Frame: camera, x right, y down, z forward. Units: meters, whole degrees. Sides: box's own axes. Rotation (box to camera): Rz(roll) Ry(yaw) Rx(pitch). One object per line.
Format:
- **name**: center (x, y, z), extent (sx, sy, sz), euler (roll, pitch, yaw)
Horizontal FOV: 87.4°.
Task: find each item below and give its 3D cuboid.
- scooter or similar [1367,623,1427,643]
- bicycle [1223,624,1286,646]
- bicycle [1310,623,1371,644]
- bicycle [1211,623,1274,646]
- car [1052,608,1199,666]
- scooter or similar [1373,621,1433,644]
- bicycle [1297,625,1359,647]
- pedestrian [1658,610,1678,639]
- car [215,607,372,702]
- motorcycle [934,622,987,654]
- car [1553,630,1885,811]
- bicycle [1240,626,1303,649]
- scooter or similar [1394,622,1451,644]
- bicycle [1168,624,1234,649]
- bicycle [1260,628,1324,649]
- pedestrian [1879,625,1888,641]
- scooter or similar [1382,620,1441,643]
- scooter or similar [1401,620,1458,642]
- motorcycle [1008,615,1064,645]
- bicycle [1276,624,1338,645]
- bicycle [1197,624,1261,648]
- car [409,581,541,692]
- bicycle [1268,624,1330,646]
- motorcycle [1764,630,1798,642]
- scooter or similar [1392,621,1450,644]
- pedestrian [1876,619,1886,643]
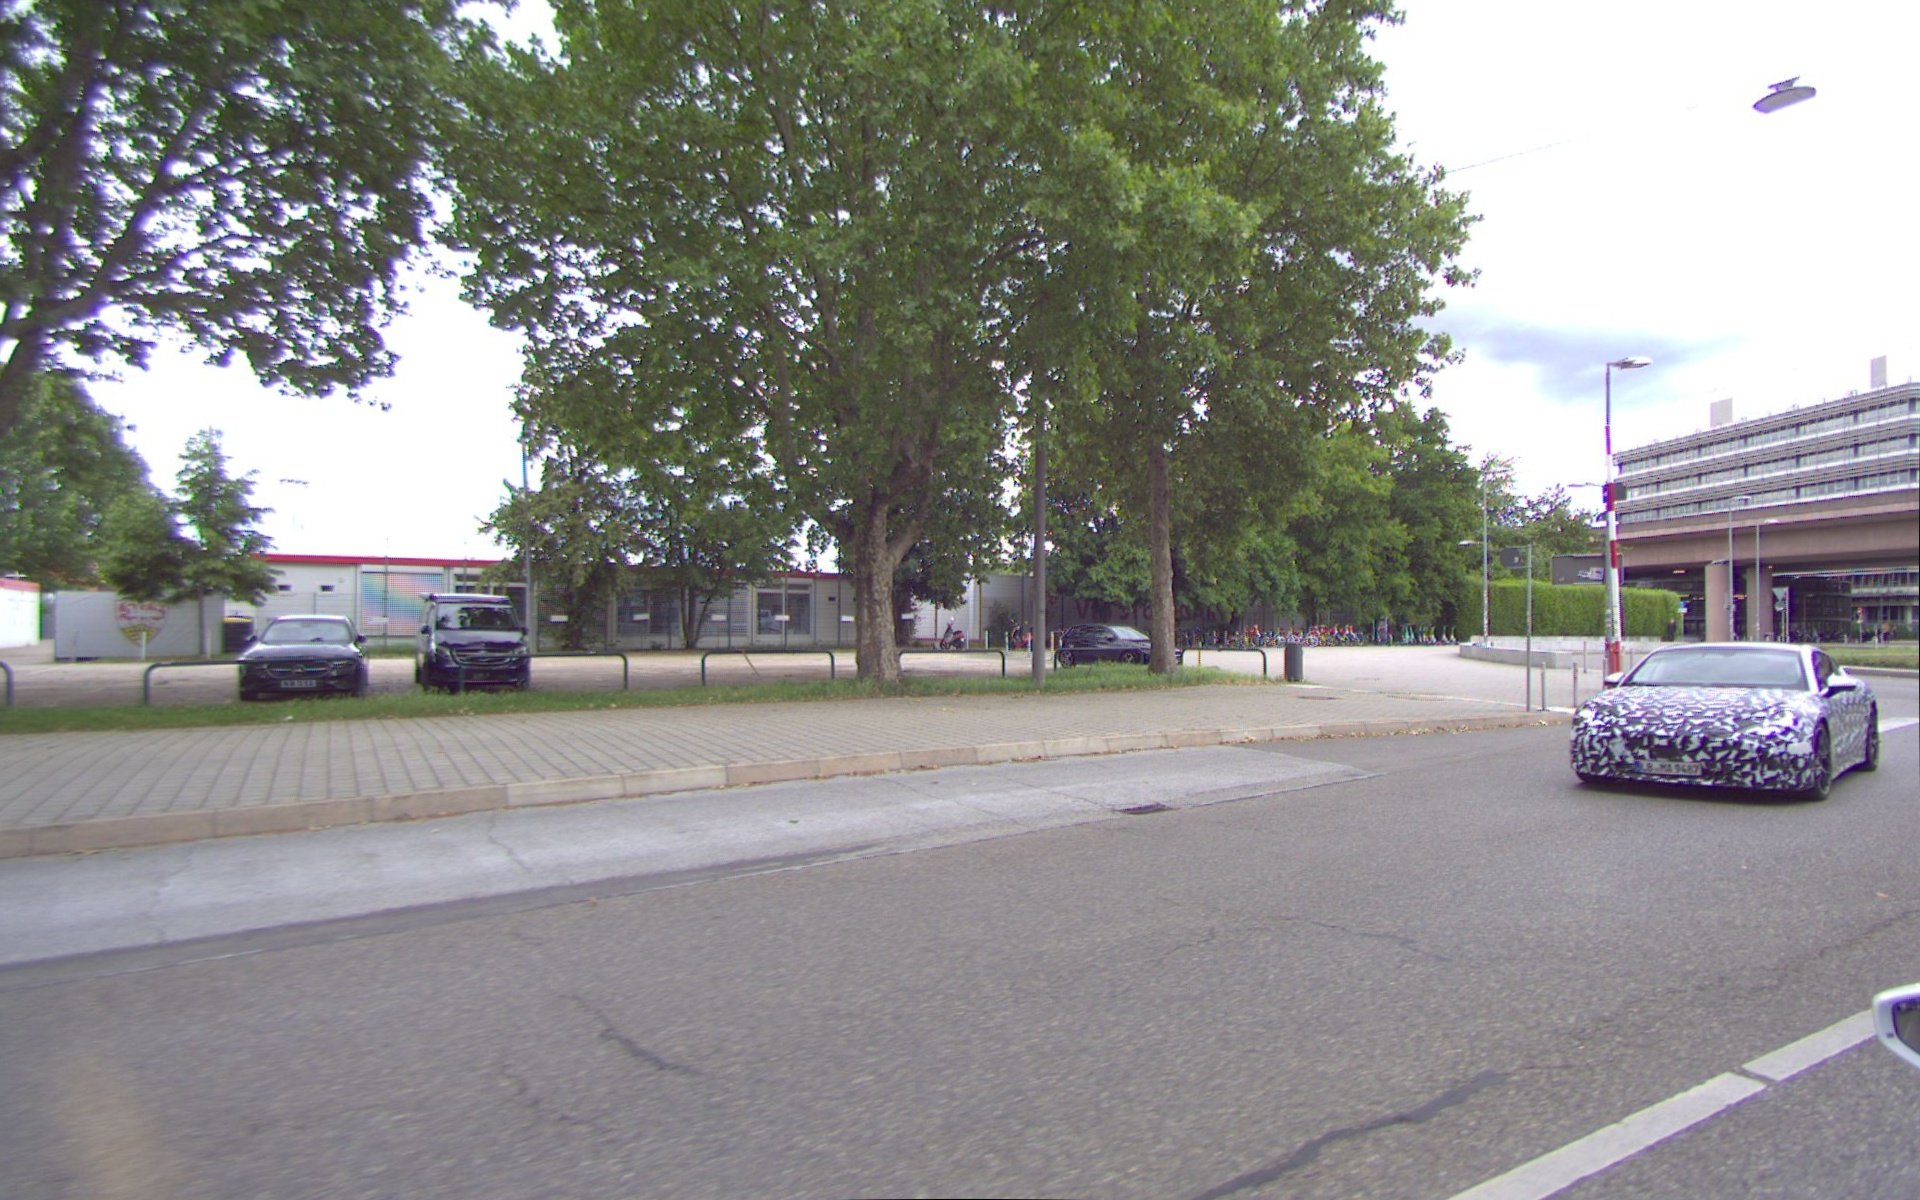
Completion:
- **scooter or similar**: center (25.348, 1.908, 58.290), extent (3.147, 1.112, 0.769), euler (0, -1, 43)
- **bicycle**: center (15.388, 1.818, 52.583), extent (3.147, 1.112, 0.769), euler (0, -1, 43)
- **bicycle**: center (21.333, 1.868, 56.354), extent (3.147, 1.112, 0.769), euler (0, -1, 43)
- **bicycle**: center (14.616, 1.769, 51.994), extent (3.148, 1.112, 0.768), euler (1, -1, 44)
- **car**: center (4.985, 1.113, 30.567), extent (2.214, 1.626, 3.954), euler (2, -2, -40)
- **scooter or similar**: center (25.972, 1.878, 58.996), extent (3.147, 1.266, 0.769), euler (0, -1, 43)
- **bicycle**: center (20.356, 1.970, 55.650), extent (3.147, 1.112, 0.769), euler (0, -1, 43)
- **pedestrian**: center (49.059, 1.695, 69.636), extent (0.595, 2.040, 1.033), euler (1, -1, -43)
- **car**: center (-12.666, 0.971, 19.383), extent (2.083, 1.588, 4.606), euler (2, -1, -29)
- **motorcycle**: center (-0.016, 1.559, 42.063), extent (0.763, 1.238, 3.650), euler (1, -1, -25)
- **car**: center (8.184, 1.086, 10.643), extent (4.778, 1.472, 1.884), euler (1, -3, -42)
- **bicycle**: center (16.423, 1.966, 53.068), extent (3.147, 1.112, 0.769), euler (-1, -2, 43)
- **scooter or similar**: center (28.417, 2.032, 61.753), extent (3.147, 1.266, 0.769), euler (0, -1, 43)
- **bicycle**: center (11.725, 1.752, 48.992), extent (3.148, 1.112, 0.768), euler (1, -1, 44)
- **bicycle**: center (17.583, 2.033, 53.268), extent (3.147, 1.111, 0.769), euler (-2, -3, 43)
- **pedestrian**: center (115.378, 4.141, 125.467), extent (0.766, 2.040, 0.668), euler (0, -1, 35)
- **scooter or similar**: center (26.829, 1.873, 59.724), extent (3.147, 1.266, 0.769), euler (0, -1, 43)
- **scooter or similar**: center (29.124, 1.918, 62.374), extent (3.147, 1.266, 0.769), euler (0, -1, 43)
- **motorcycle**: center (3.309, 1.306, 44.049), extent (0.763, 1.238, 3.650), euler (1, -1, -25)
- **bicycle**: center (18.987, 1.880, 55.037), extent (3.147, 1.112, 0.769), euler (0, -1, 43)
- **bicycle**: center (13.640, 1.821, 51.040), extent (3.148, 1.112, 0.768), euler (1, -1, 44)
- **car**: center (-10.268, 0.718, 21.089), extent (2.235, 2.052, 4.596), euler (1, -1, -29)
- **bicycle**: center (18.284, 1.893, 54.212), extent (3.147, 1.112, 0.769), euler (0, -1, 43)
- **motorcycle**: center (83.424, 3.622, 102.069), extent (1.021, 1.127, 2.657), euler (1, -1, -10)
- **scooter or similar**: center (27.861, 1.950, 60.750), extent (3.147, 1.266, 0.769), euler (0, -1, 43)
- **pedestrian**: center (79.616, 2.656, 86.842), extent (0.595, 2.040, 0.582), euler (1, -1, -43)
